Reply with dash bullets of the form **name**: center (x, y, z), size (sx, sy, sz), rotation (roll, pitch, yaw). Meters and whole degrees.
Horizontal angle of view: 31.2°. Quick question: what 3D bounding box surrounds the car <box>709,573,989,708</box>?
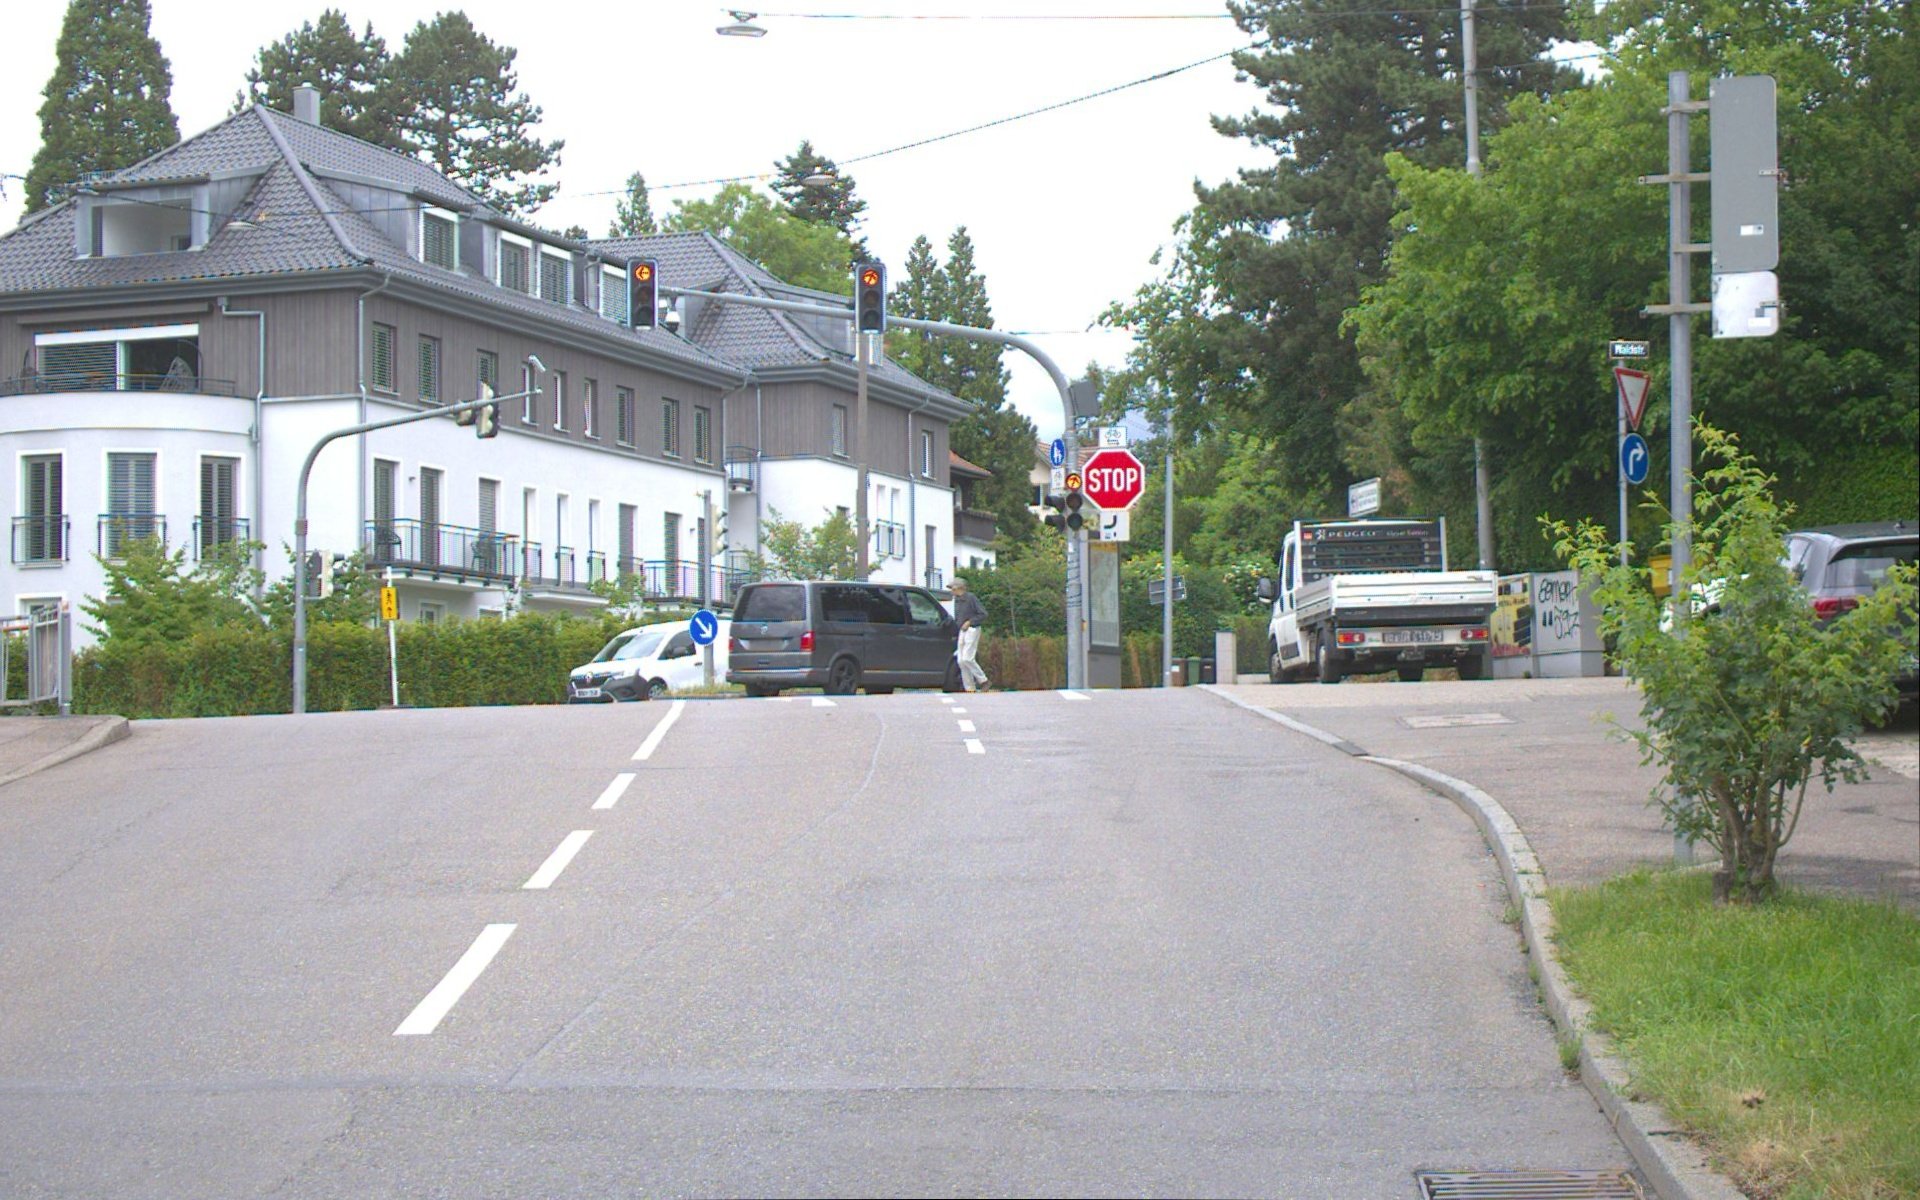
- **car**: center (-1.760, 0.618, 55.933), size (1.998, 2.007, 4.499), rotation (0, 1, 41)

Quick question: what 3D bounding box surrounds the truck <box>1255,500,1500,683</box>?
- **truck**: center (5.436, -0.041, 45.616), size (2.183, 2.188, 5.881), rotation (-1, -2, -3)

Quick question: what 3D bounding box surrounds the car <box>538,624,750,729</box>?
- **car**: center (-6.078, 1.445, 66.647), size (1.997, 1.850, 4.347), rotation (0, 1, 29)

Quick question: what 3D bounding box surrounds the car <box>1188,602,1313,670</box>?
- **car**: center (6.990, 0.843, 82.298), size (2.156, 1.486, 4.709), rotation (0, 1, 15)

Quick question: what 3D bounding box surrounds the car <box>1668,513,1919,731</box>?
- **car**: center (6.725, 0.106, 26.057), size (1.848, 1.467, 4.385), rotation (-3, 0, 2)

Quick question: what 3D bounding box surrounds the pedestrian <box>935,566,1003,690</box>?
- **pedestrian**: center (0.120, 0.382, 47.167), size (0.698, 1.676, 0.686), rotation (-1, 1, -21)

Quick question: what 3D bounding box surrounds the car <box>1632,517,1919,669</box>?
- **car**: center (9.905, -0.061, 38.879), size (4.244, 1.588, 1.986), rotation (-1, -3, 20)
